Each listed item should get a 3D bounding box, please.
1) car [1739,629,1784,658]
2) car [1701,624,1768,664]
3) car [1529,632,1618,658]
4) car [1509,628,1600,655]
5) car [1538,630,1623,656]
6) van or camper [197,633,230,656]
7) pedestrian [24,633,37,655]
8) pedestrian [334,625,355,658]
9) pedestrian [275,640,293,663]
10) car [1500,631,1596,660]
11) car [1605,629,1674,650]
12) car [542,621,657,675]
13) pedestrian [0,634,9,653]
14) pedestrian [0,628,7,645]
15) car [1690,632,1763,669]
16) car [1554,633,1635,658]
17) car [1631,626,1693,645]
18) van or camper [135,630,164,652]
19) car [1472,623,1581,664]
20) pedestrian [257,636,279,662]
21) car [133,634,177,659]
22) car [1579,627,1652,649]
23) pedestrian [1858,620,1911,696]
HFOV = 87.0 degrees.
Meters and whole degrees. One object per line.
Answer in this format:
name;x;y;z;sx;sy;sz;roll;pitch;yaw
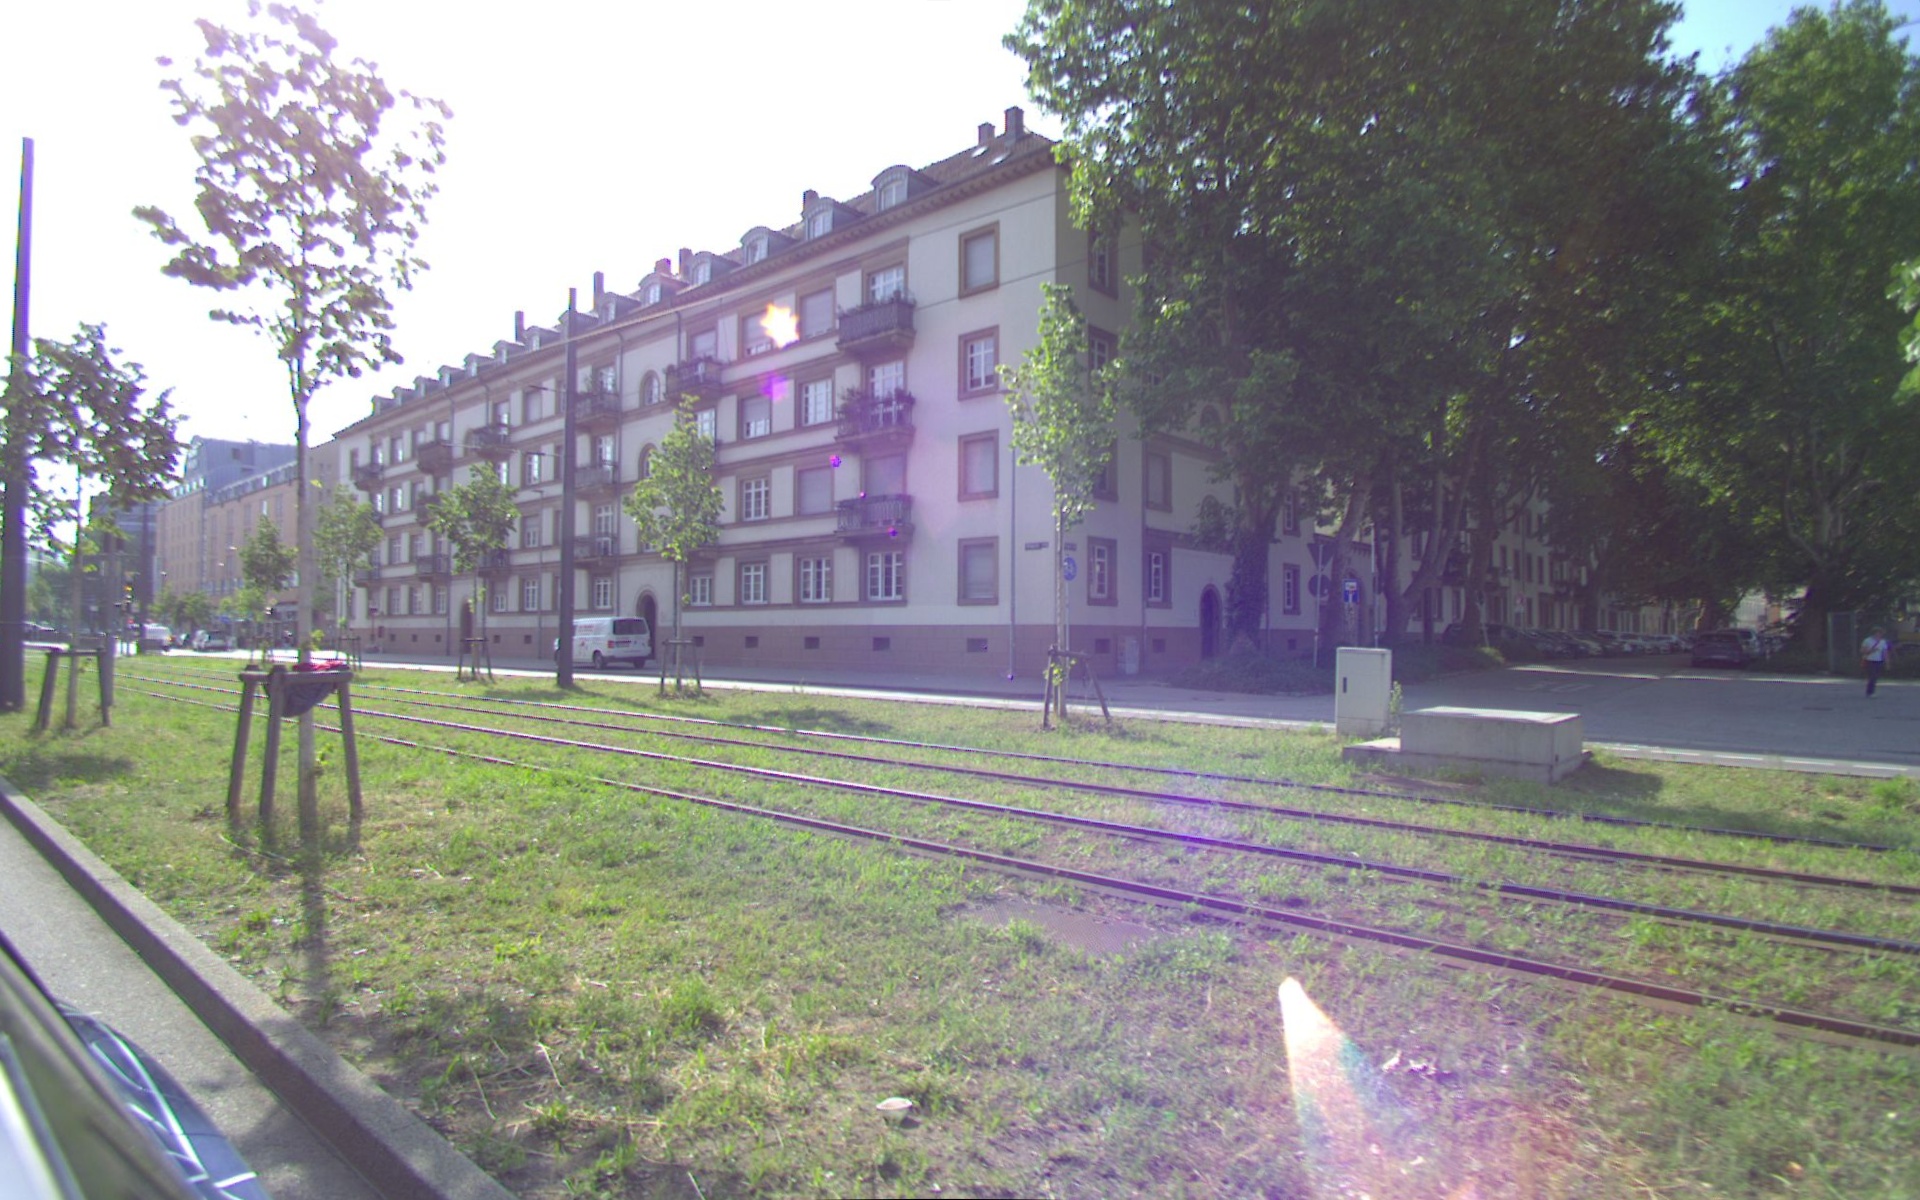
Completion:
car;43.735;2.363;55.219;1.744;1.488;3.945;-2;-3;41
car;33.300;1.874;43.474;1.999;1.619;3.945;-2;-3;41
car;34.797;2.532;57.436;3.998;1.475;1.973;-2;-3;41
car;32.387;2.256;55.211;3.998;1.386;1.875;-2;-3;41
car;36.913;2.531;60.231;3.998;1.475;1.973;-2;-3;41
van or camper;-68.822;4.086;93.289;1.907;1.983;4.003;2;-3;-44
pedestrian;-81.348;3.855;88.597;0.939;1.886;0.731;-2;-3;43
pedestrian;-38.898;2.609;63.913;1.156;2.084;0.833;-2;-2;42
pedestrian;-48.230;3.657;72.235;0.674;1.595;0.804;0;-2;14
car;30.266;2.322;52.137;3.998;1.475;1.851;-2;-3;41
car;50.540;2.932;75.287;3.998;1.475;1.973;-2;-3;41
car;-13.998;1.812;39.142;5.151;1.932;1.972;-2;-1;42
pedestrian;-93.287;4.241;98.672;0.555;1.901;0.796;-2;-3;42
pedestrian;-104.038;3.947;109.922;0.698;1.774;0.644;-1;0;42
car;30.006;1.940;39.566;1.999;1.386;3.945;-2;-3;41
car;39.168;2.781;62.504;3.998;1.475;1.973;-2;-3;41
car;58.047;2.933;83.715;3.998;1.475;1.973;-2;-3;41
van or camper;-103.526;5.242;129.209;5.351;2.823;1.972;-2;-3;42
car;25.805;1.969;46.151;3.998;1.763;1.973;-2;-3;41
pedestrian;-51.880;3.651;75.876;0.856;1.882;1.066;0;-2;14
car;-63.743;3.654;80.070;5.046;1.909;1.972;-2;-3;43
car;45.147;2.600;69.768;3.998;1.475;1.973;-2;-3;41
pedestrian;21.202;1.318;23.229;0.673;1.690;0.730;-1;-2;25
